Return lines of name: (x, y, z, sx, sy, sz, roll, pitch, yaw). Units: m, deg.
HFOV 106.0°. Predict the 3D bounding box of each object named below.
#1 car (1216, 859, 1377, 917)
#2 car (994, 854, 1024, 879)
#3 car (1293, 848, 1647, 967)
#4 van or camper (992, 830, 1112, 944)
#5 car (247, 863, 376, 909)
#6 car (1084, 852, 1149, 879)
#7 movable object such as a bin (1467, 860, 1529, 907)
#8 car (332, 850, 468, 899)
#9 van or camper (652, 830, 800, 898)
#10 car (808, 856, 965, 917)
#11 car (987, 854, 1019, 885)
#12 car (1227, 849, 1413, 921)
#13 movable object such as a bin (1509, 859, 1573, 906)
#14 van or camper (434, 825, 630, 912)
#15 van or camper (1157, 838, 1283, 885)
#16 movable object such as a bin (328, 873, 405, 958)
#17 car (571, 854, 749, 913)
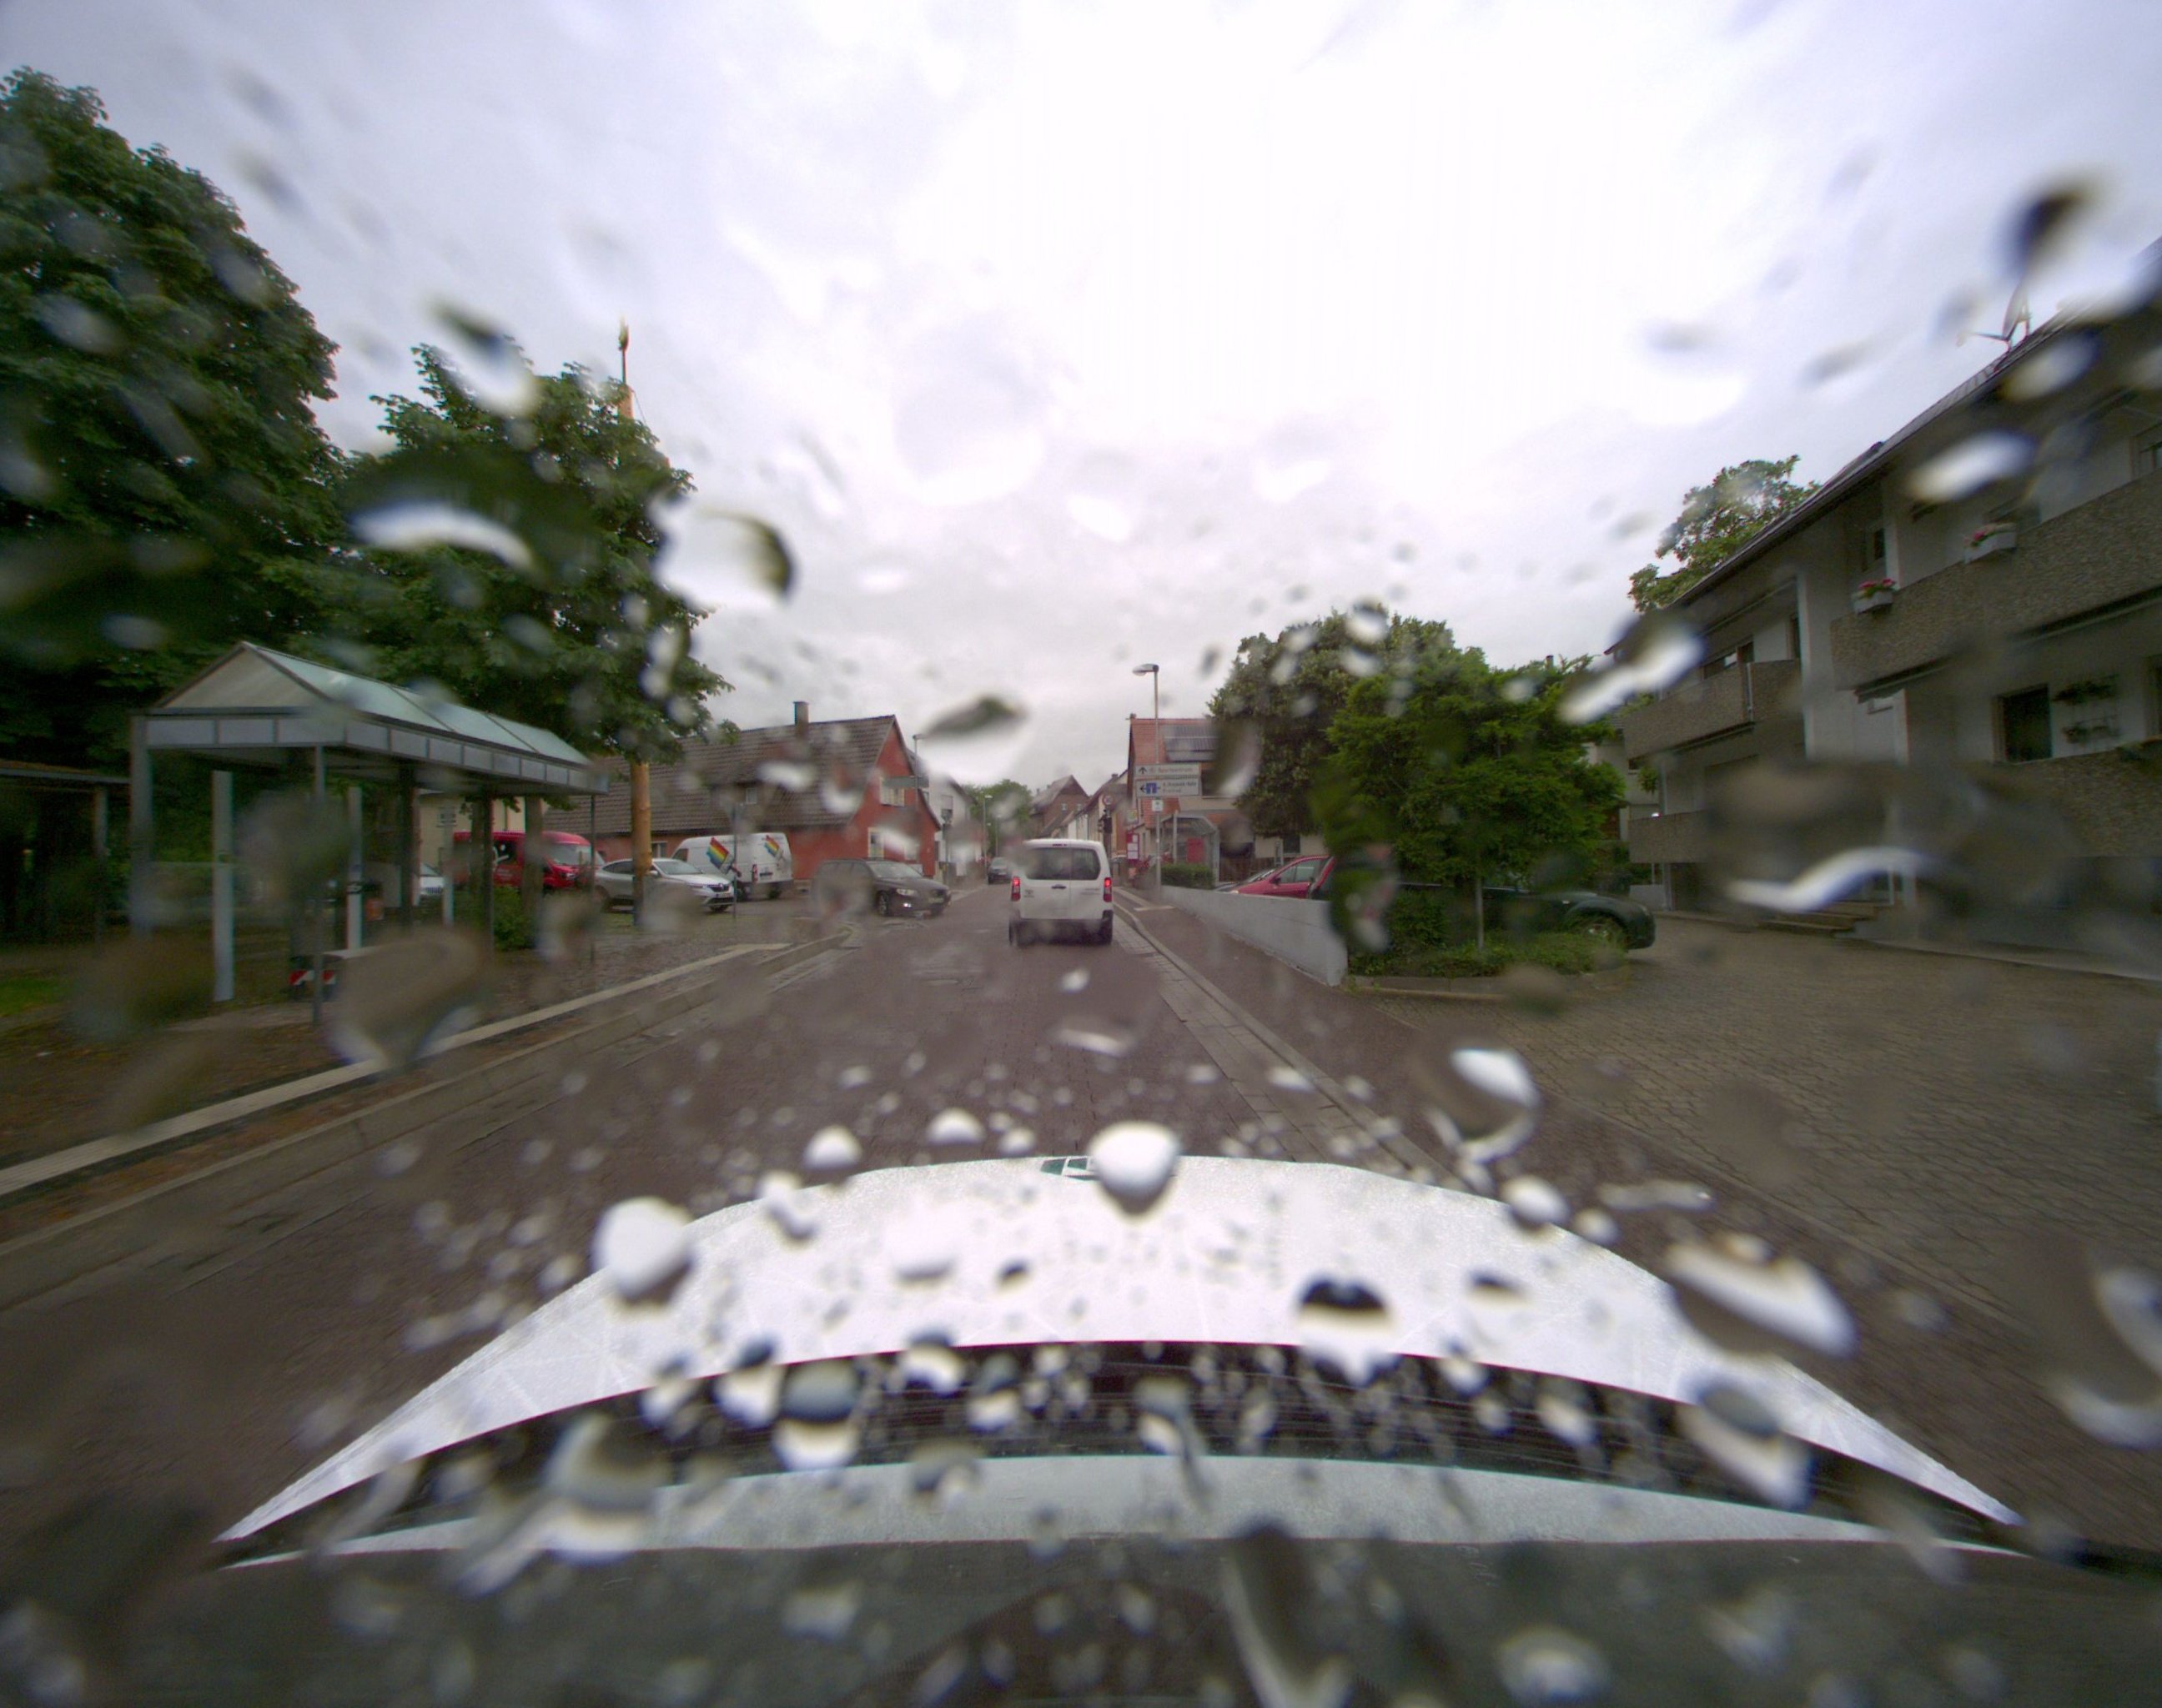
car: (5.700, 0.885, 21.904, 3.932, 1.378, 1.754, -1, 0, 5)
car: (-5.072, 0.904, 57.733, 1.743, 1.636, 4.416, -4, -1, -1)
car: (5.189, 0.705, 11.439, 4.199, 1.480, 1.701, -1, -1, 12)
van or camper: (-0.547, 0.563, 15.328, 1.939, 1.851, 3.996, 1, -1, -2)
car: (-27.135, 1.130, 28.739, 3.767, 1.550, 1.810, -2, -2, 20)
car: (2.298, 0.741, 54.094, 1.885, 1.590, 4.570, 0, 1, -35)
movable object such as a bin: (12.290, 0.847, 24.030, 1.238, 1.357, 1.155, 0, 0, -1)
car: (-23.052, 0.702, 27.597, 3.768, 1.550, 1.809, -1, -2, 18)
van or camper: (-13.636, 0.402, 31.256, 5.096, 2.435, 2.224, -2, 0, 23)
car: (-5.265, 0.801, 21.790, 4.259, 1.477, 1.861, 0, -1, 40)
car: (-4.893, 0.928, 51.415, 1.809, 1.779, 4.012, -2, 0, -4)
car: (5.575, 0.718, 19.380, 4.041, 1.589, 1.863, -1, 0, 11)
movable object such as a bin: (13.567, 0.816, 24.043, 1.238, 1.357, 1.155, 0, 0, -1)
van or camper: (-17.141, 0.413, 25.426, 5.807, 2.474, 2.166, 0, -1, 22)
van or camper: (5.977, 0.316, 35.339, 5.062, 1.923, 1.872, 1, -1, -6)
movable object such as a bin: (-10.085, 0.858, 11.517, 0.561, 1.146, 0.603, -1, -2, -5)
car: (-11.964, 0.800, 23.195, 4.410, 1.550, 1.891, 0, -1, 18)
